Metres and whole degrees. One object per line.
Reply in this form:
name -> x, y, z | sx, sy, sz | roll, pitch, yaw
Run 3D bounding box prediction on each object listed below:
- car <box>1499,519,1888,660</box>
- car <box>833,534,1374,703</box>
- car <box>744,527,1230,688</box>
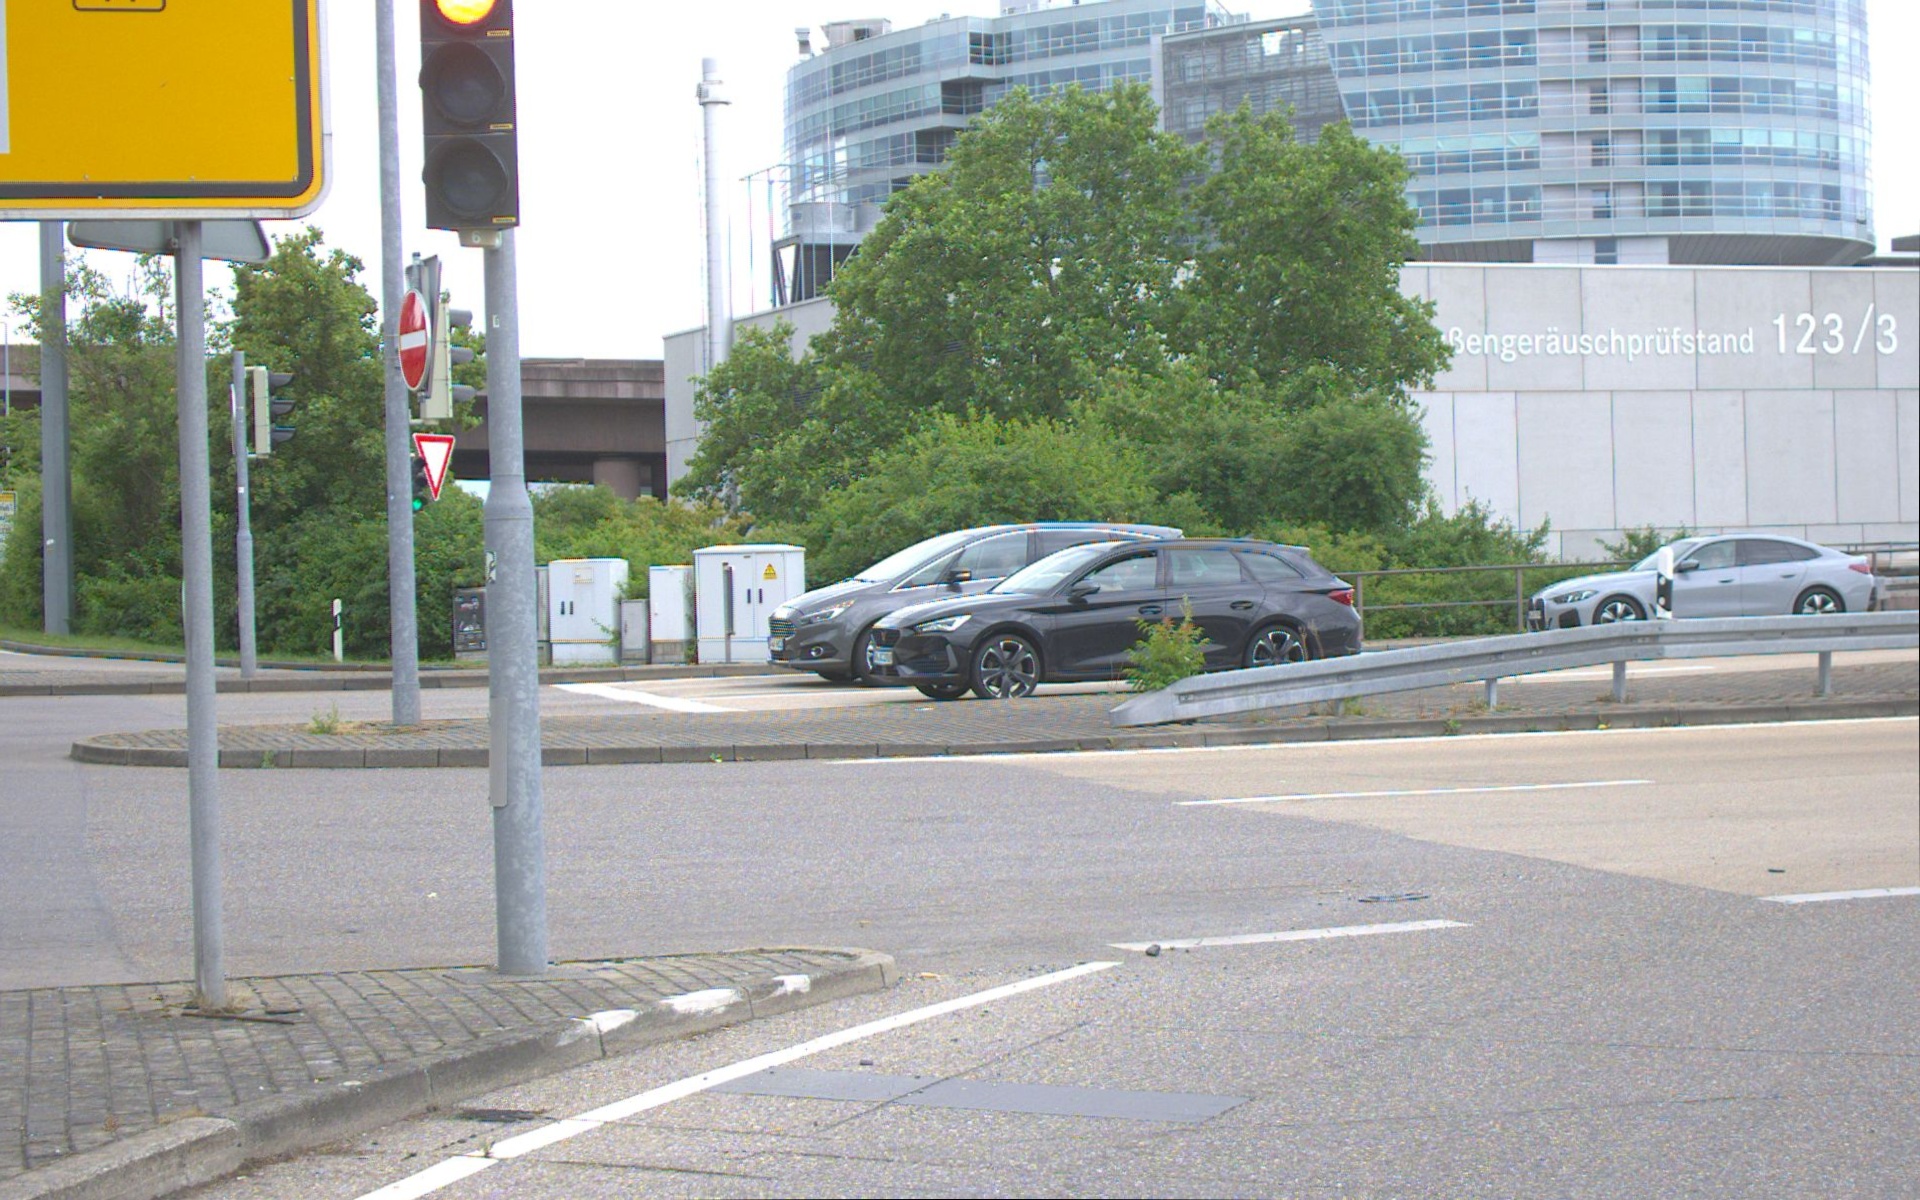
car -> 9.970, -0.153, 46.883 | 4.730, 1.656, 1.916 | 3, 1, -11
car -> 1.311, 0.131, 31.854 | 4.604, 1.452, 1.956 | -1, 2, -19
car -> 0.266, 0.039, 35.848 | 4.677, 1.566, 1.956 | 0, 2, -18
